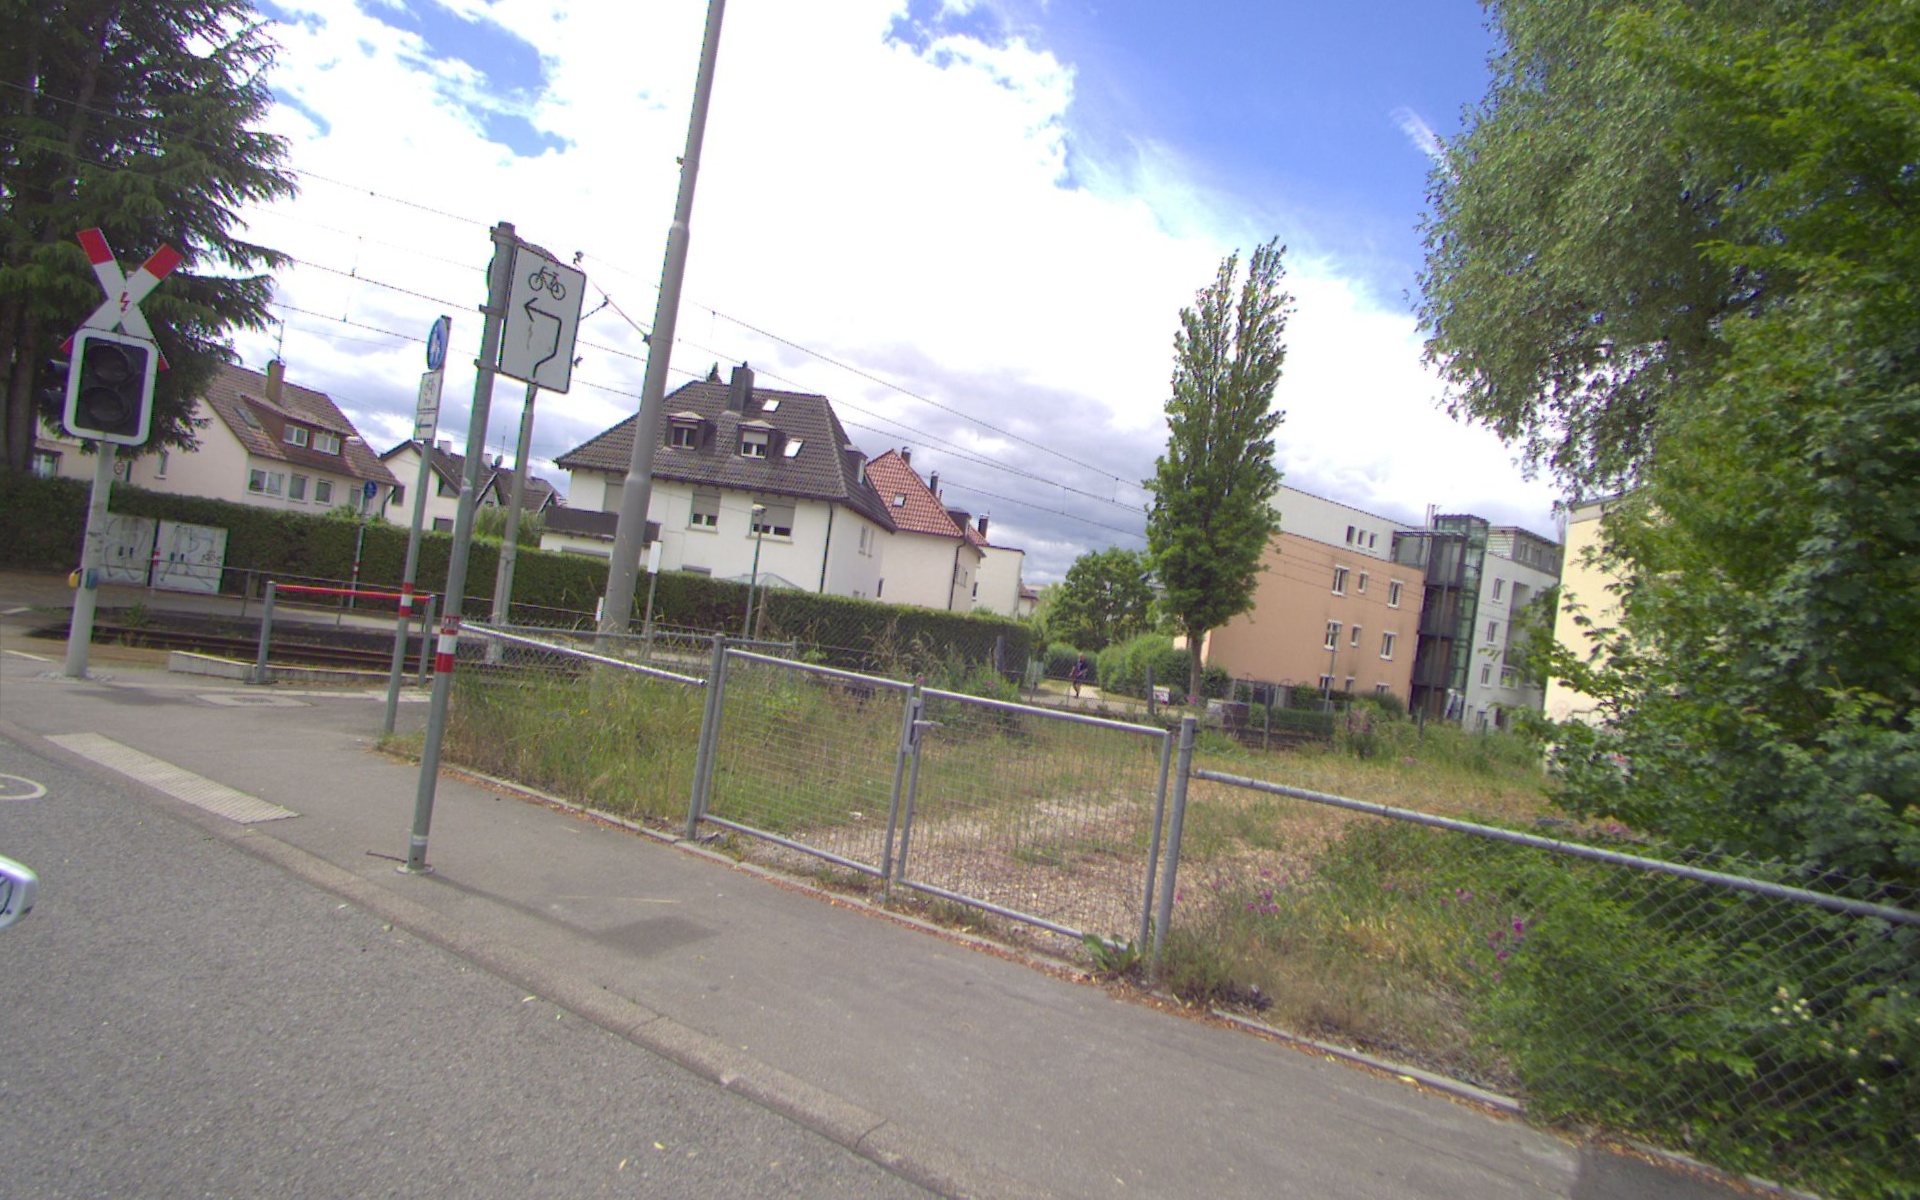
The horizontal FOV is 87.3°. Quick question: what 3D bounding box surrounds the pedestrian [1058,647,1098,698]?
[{"bbox_3d":[4.309,2.631,36.698,0.910,1.707,0.925,7,-1,-31],"label":"pedestrian"}]
